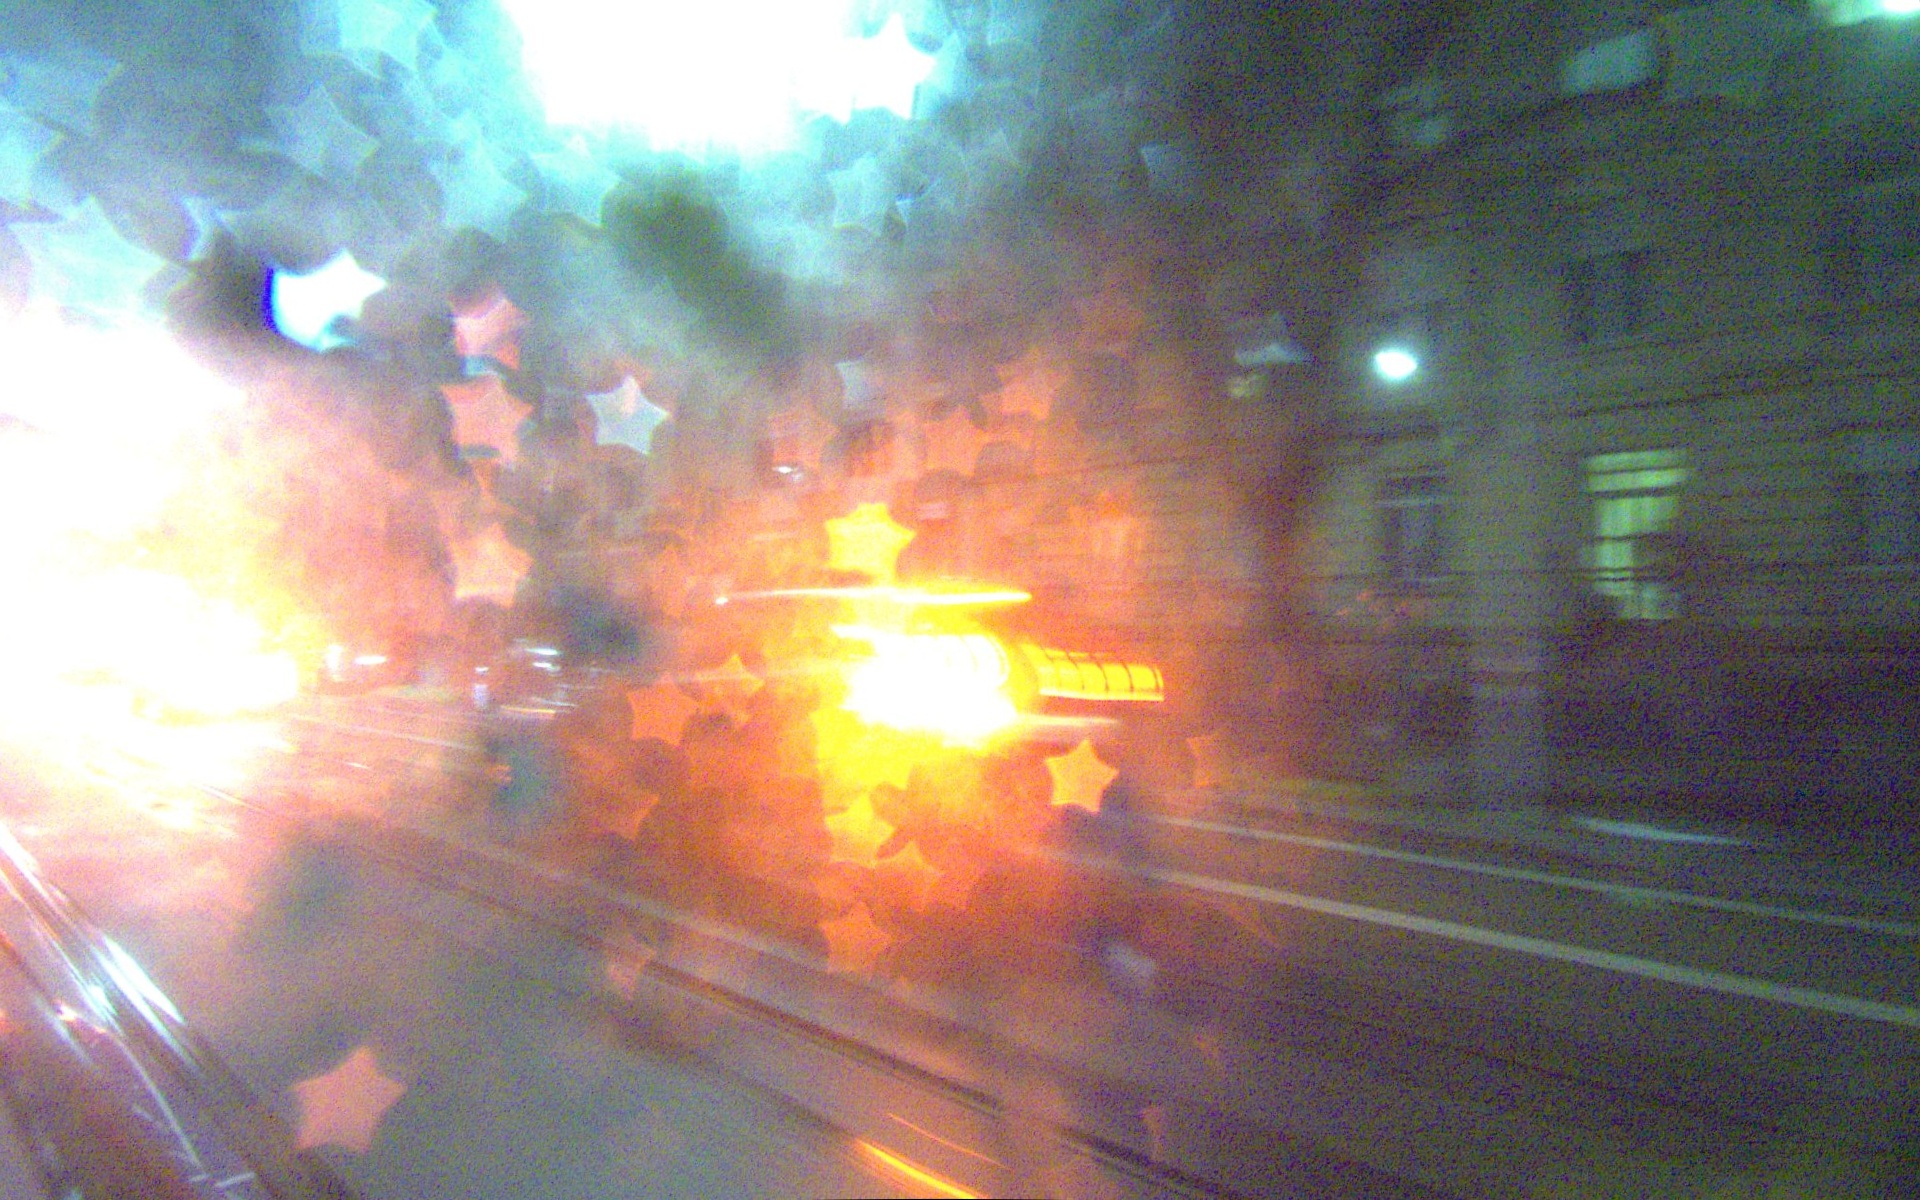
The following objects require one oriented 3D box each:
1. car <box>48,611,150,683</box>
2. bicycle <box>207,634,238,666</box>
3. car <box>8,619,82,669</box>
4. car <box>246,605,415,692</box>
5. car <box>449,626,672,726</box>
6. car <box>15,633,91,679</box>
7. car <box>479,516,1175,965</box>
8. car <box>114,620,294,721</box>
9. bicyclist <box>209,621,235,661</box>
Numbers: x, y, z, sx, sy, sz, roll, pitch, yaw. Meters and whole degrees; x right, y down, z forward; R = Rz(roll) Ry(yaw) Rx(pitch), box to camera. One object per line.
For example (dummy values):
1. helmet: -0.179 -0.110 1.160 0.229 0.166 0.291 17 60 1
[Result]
1. car: -24.500 1.320 28.742 1.903 1.894 4.641 3 -4 -44
2. bicycle: -28.990 1.944 39.753 1.898 1.150 0.647 0 2 44
3. car: -36.722 1.739 40.587 4.537 1.883 1.874 -1 -2 44
4. car: -15.680 1.166 25.081 5.305 1.839 1.974 -2 1 40
5. car: -6.925 1.201 17.370 4.137 1.417 1.748 -1 1 39
6. car: -31.443 1.885 35.066 1.772 1.475 3.903 1 -2 -45
7. car: -1.074 0.652 6.329 4.383 1.830 1.918 -2 -3 42
8. car: -12.824 1.117 17.078 4.205 1.490 1.633 -2 -3 42
9. bicyclist: -28.944 1.594 39.697 0.868 1.476 0.647 0 2 44
